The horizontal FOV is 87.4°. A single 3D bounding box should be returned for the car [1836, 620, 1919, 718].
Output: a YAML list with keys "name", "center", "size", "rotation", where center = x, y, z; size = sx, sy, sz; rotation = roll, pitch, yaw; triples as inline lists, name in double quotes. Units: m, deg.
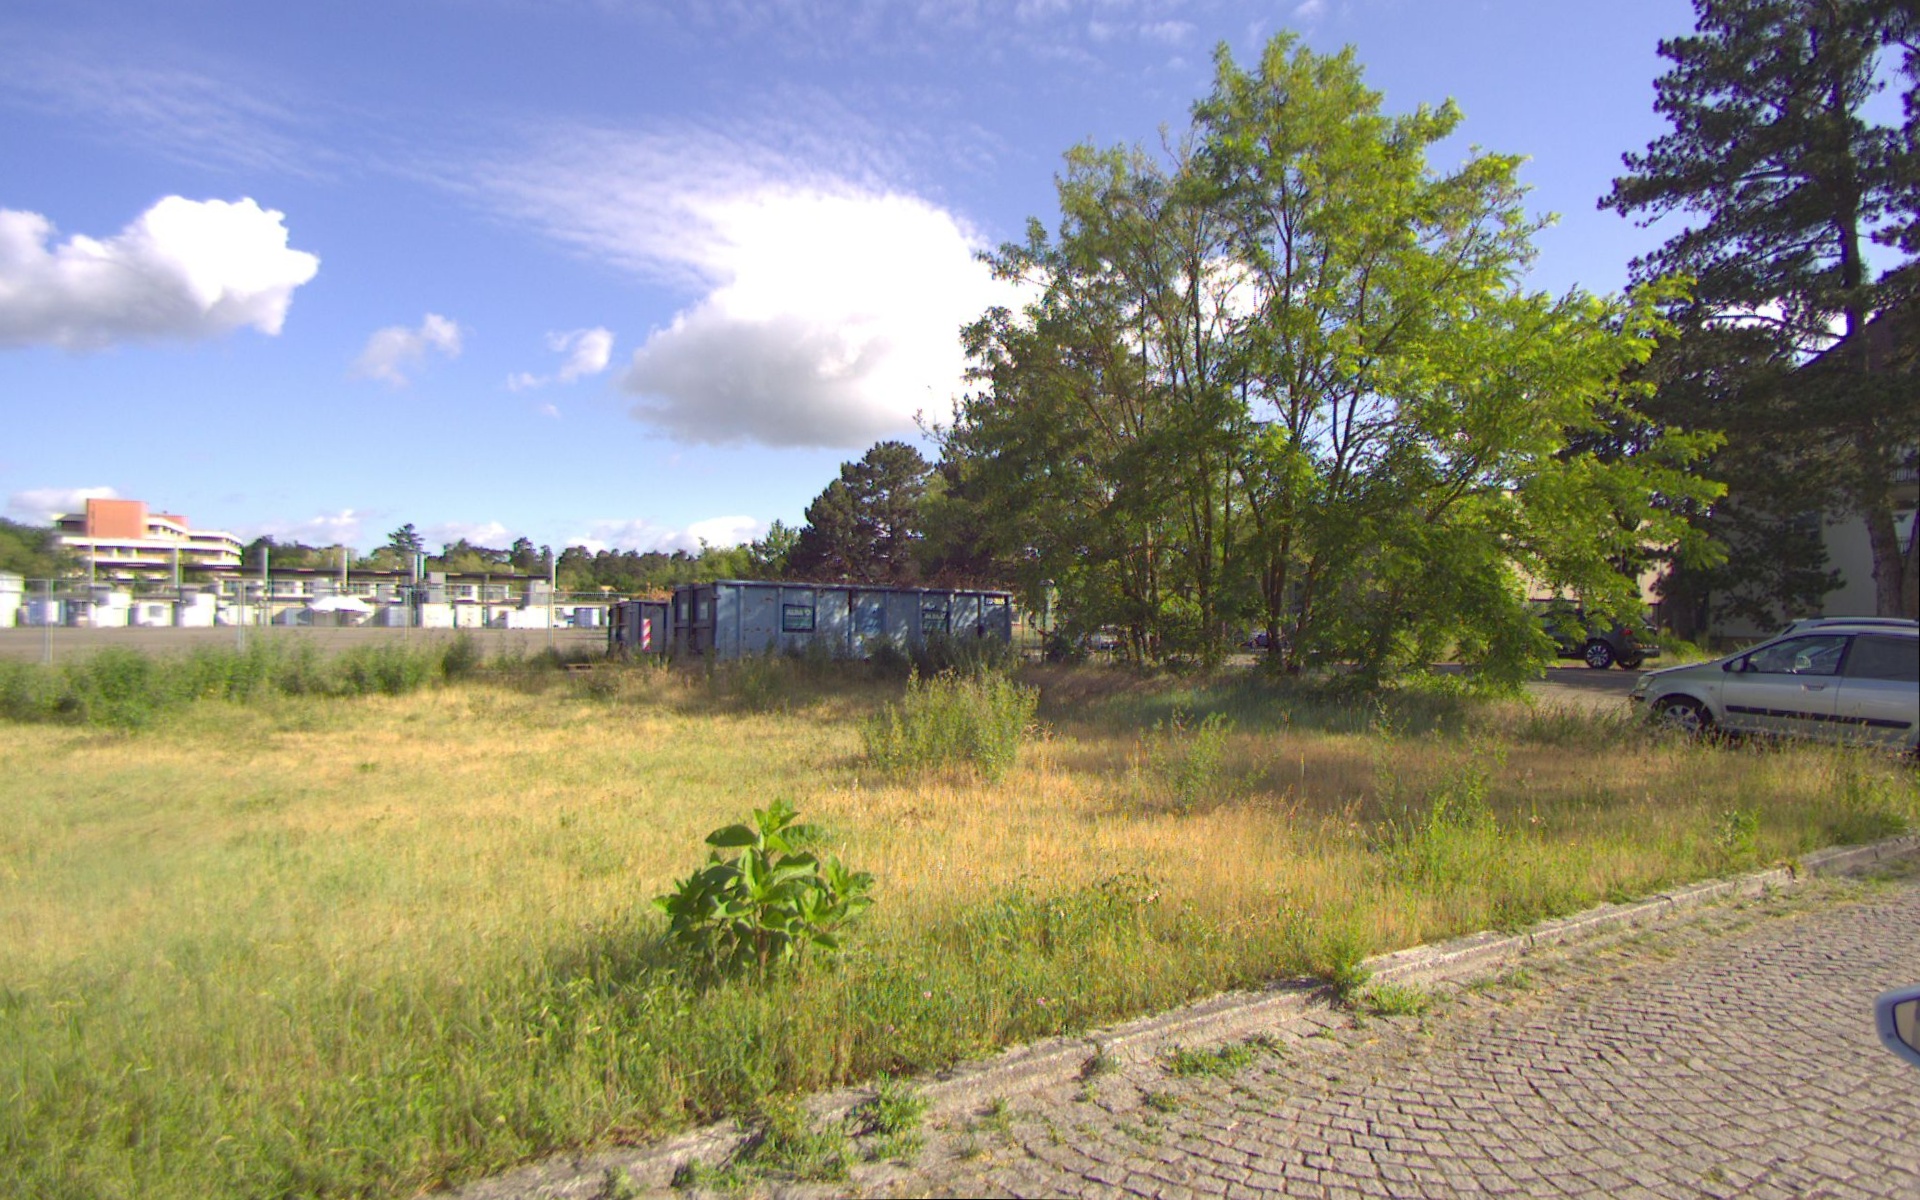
- name: "car"
  center: [16.514, 1.168, 15.624]
  size: [1.748, 1.516, 3.975]
  rotation: [1, 1, -25]

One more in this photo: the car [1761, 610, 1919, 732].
- name: "car"
  center: [14.218, 1.053, 14.439]
  size: [1.641, 1.637, 3.860]
  rotation: [1, 1, -30]

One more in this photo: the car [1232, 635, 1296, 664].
- name: "car"
  center: [20.097, 3.255, 66.382]
  size: [3.952, 1.802, 1.858]
  rotation: [1, -1, -28]

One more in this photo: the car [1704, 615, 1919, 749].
- name: "car"
  center: [12.067, 1.046, 12.675]
  size: [1.671, 1.464, 3.917]
  rotation: [1, 2, -30]

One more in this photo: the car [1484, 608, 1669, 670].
- name: "car"
  center: [17.549, 1.062, 28.790]
  size: [1.985, 1.630, 4.127]
  rotation: [1, -1, -28]

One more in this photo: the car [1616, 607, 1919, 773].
- name: "car"
  center: [9.812, 0.942, 11.319]
  size: [1.680, 1.548, 3.665]
  rotation: [1, 1, -32]
